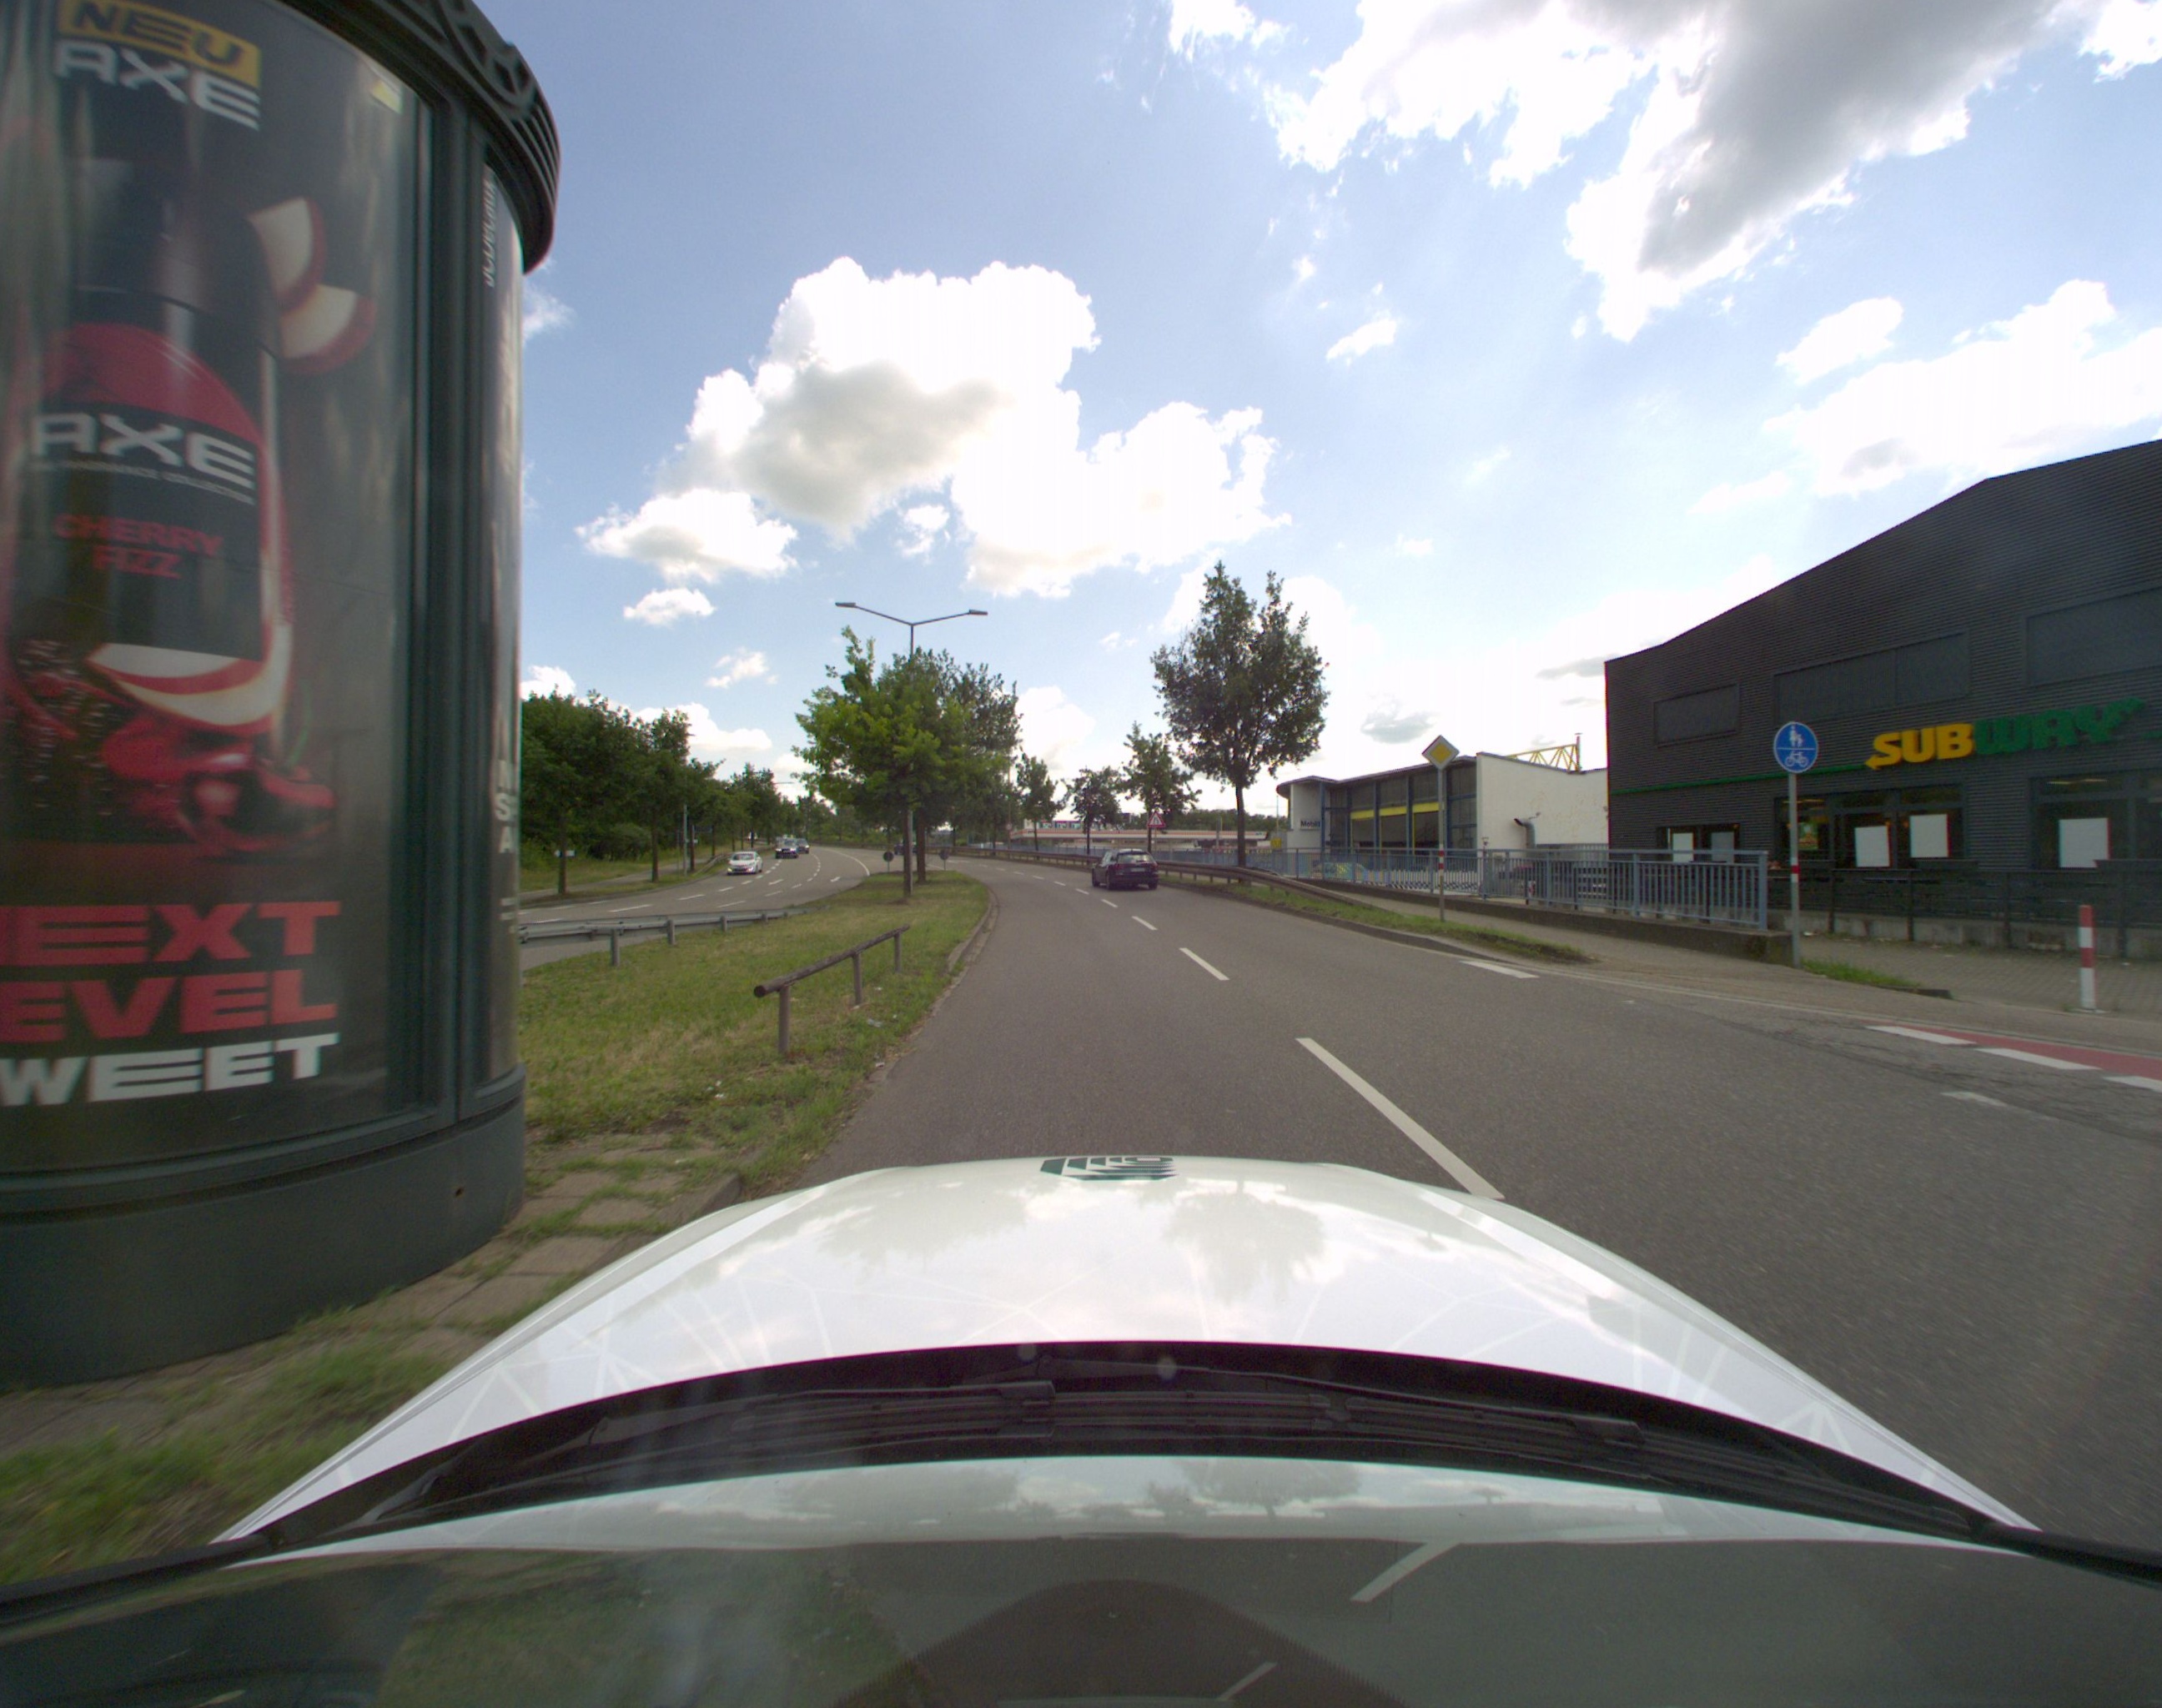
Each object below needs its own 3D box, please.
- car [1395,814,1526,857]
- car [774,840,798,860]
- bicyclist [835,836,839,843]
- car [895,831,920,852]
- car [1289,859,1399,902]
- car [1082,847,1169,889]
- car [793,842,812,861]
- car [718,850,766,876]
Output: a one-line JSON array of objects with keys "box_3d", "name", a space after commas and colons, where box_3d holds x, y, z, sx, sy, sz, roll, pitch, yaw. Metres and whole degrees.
[{"box_3d": [18.784, -0.878, 40.397, 5.810, 2.014, 2.222, 0, -1, -14], "name": "car"}, {"box_3d": [-29.087, -0.415, 80.164, 2.002, 1.861, 4.678, 0, 0, -23], "name": "car"}, {"box_3d": [-40.530, -2.417, 135.387, 0.476, 1.168, 0.820, -1, -1, -26], "name": "bicyclist"}, {"box_3d": [-18.313, -1.299, 85.895, 2.000, 2.037, 4.682, 0, -1, -19], "name": "car"}, {"box_3d": [9.674, 0.937, 30.396, 1.993, 1.359, 4.734, -1, 1, -9], "name": "car"}, {"box_3d": [1.537, 0.475, 29.922, 1.995, 1.390, 4.556, 1, 0, -13], "name": "car"}, {"box_3d": [-32.076, -0.277, 93.842, 1.999, 2.013, 4.790, 0, 2, -17], "name": "car"}, {"box_3d": [-22.072, 0.586, 53.174, 1.995, 1.532, 4.314, -2, 0, -11], "name": "car"}]
